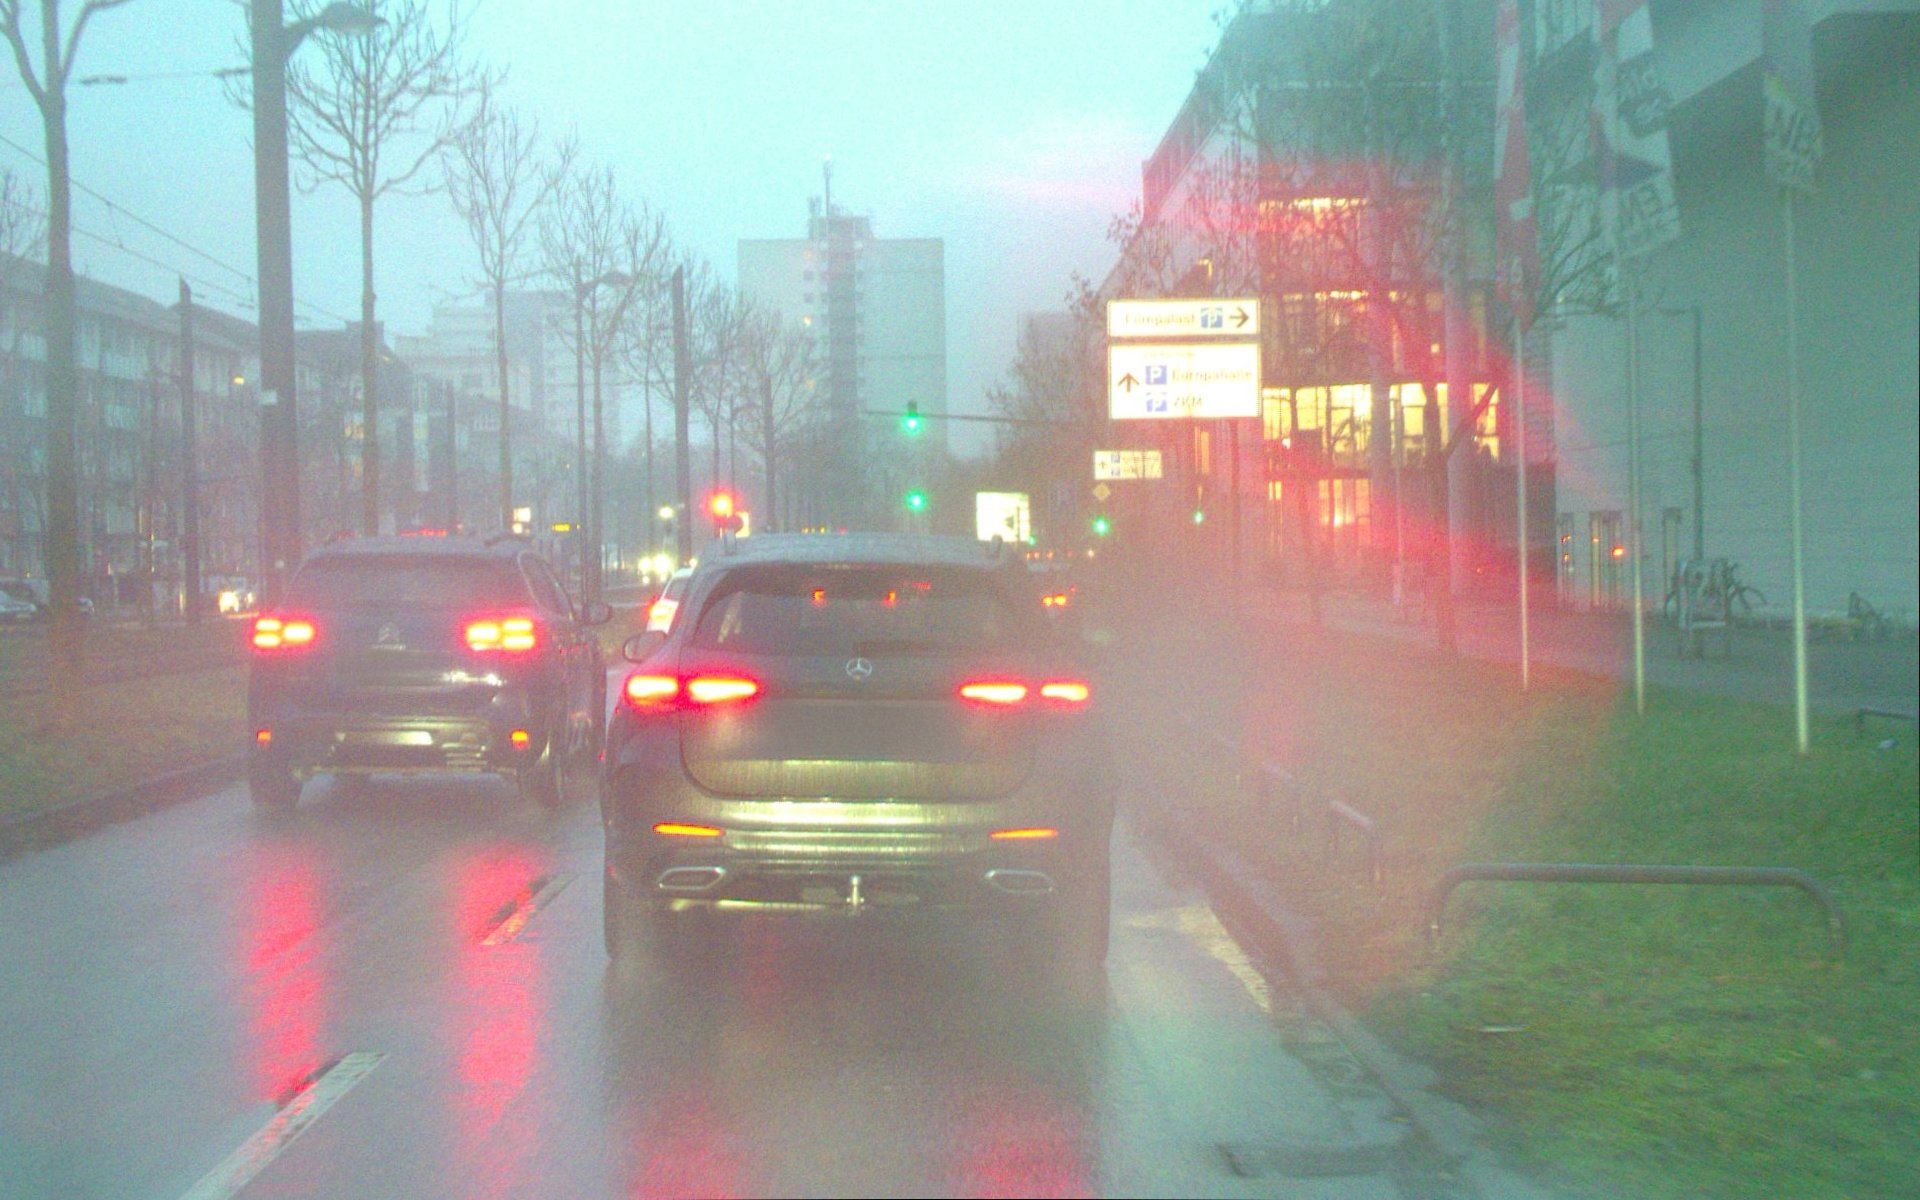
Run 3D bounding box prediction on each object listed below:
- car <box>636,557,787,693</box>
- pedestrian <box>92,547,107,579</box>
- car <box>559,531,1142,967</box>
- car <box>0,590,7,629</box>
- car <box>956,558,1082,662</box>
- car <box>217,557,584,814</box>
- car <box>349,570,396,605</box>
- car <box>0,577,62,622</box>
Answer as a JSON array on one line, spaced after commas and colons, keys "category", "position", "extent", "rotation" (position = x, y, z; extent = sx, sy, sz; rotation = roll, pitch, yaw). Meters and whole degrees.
[{"category": "car", "position": [-3.110, 0.280, 43.574], "extent": [1.689, 1.630, 3.474], "rotation": [1, 1, -1]}, {"category": "pedestrian", "position": [-31.705, -1.352, 126.698], "extent": [0.345, 1.180, 0.434], "rotation": [1, 0, -41]}, {"category": "car", "position": [-0.409, 0.505, 13.772], "extent": [1.993, 1.478, 3.700], "rotation": [1, 0, -1]}, {"category": "car", "position": [-29.276, 0.225, 97.867], "extent": [4.183, 1.112, 1.678], "rotation": [1, 1, 30]}, {"category": "car", "position": [0.959, 0.131, 53.994], "extent": [1.867, 1.537, 3.610], "rotation": [1, 1, 2]}, {"category": "car", "position": [-3.429, 0.469, 21.725], "extent": [1.817, 1.445, 4.000], "rotation": [1, 1, -3]}, {"category": "car", "position": [-27.686, -0.600, 162.039], "extent": [1.613, 1.617, 3.509], "rotation": [1, 1, -1]}, {"category": "car", "position": [-29.381, -0.034, 105.476], "extent": [3.763, 1.332, 1.450], "rotation": [0, 1, 35]}]
